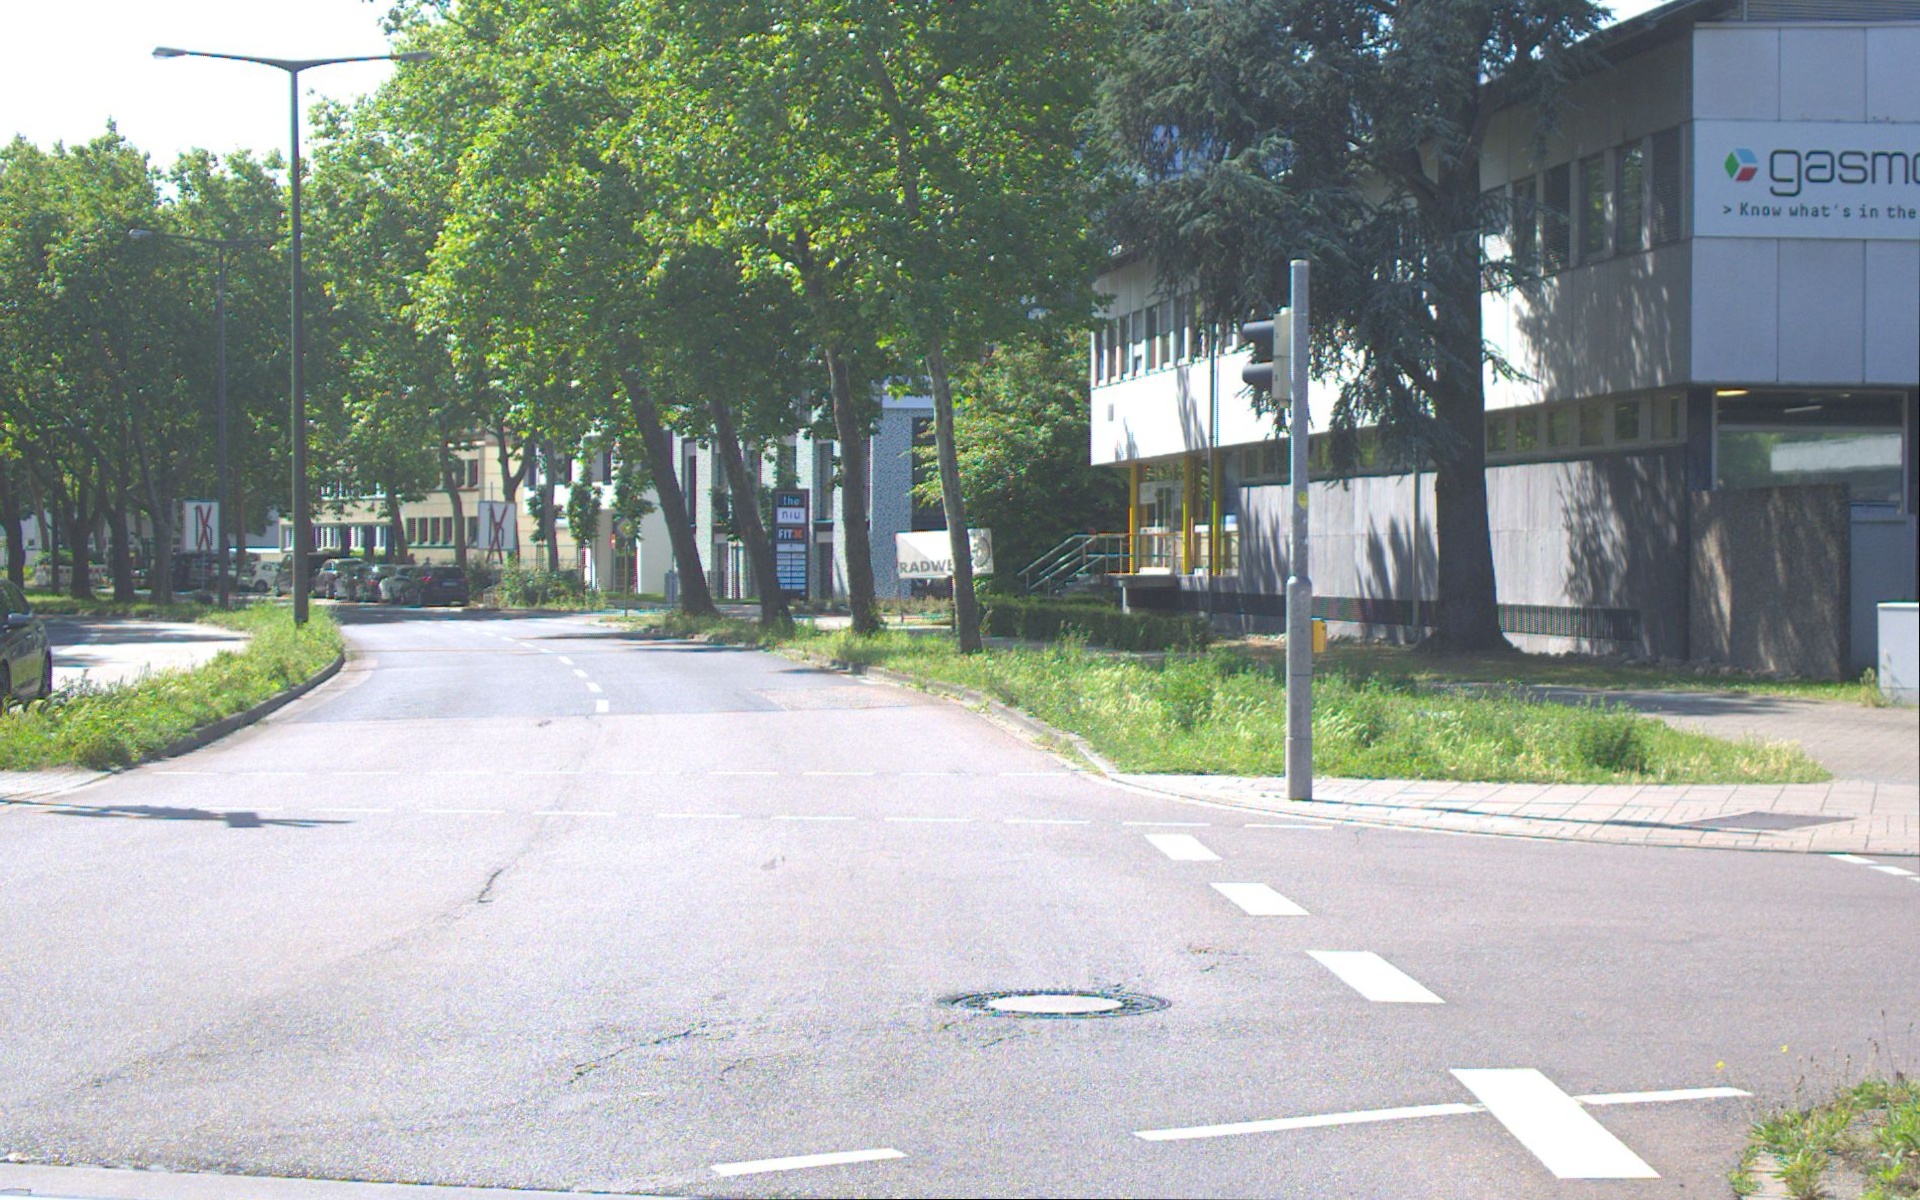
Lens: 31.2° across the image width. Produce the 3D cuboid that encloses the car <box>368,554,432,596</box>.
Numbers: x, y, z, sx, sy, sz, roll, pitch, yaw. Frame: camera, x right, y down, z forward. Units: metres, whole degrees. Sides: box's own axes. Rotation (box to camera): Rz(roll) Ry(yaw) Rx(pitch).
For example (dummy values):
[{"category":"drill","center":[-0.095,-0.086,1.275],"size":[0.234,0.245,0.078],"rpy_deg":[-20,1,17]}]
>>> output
[{"category":"car","center":[-20.843,-0.939,127.844],"size":[1.706,1.482,4.102],"rpy_deg":[0,1,-19]}]

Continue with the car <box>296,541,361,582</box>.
[{"category":"car","center":[-26.584,-1.640,144.599],"size":[1.706,1.664,4.535],"rpy_deg":[0,1,-24]}]

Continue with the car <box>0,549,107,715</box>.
[{"category":"car","center":[-9.569,0.267,32.893],"size":[1.694,1.503,4.129],"rpy_deg":[0,1,2]}]

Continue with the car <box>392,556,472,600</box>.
[{"category":"car","center":[-18.890,-0.789,122.909],"size":[1.706,1.482,4.720],"rpy_deg":[-1,2,-23]}]

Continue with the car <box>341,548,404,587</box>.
[{"category":"car","center":[-22.753,-1.279,132.955],"size":[1.706,1.450,4.657],"rpy_deg":[0,1,-19]}]
